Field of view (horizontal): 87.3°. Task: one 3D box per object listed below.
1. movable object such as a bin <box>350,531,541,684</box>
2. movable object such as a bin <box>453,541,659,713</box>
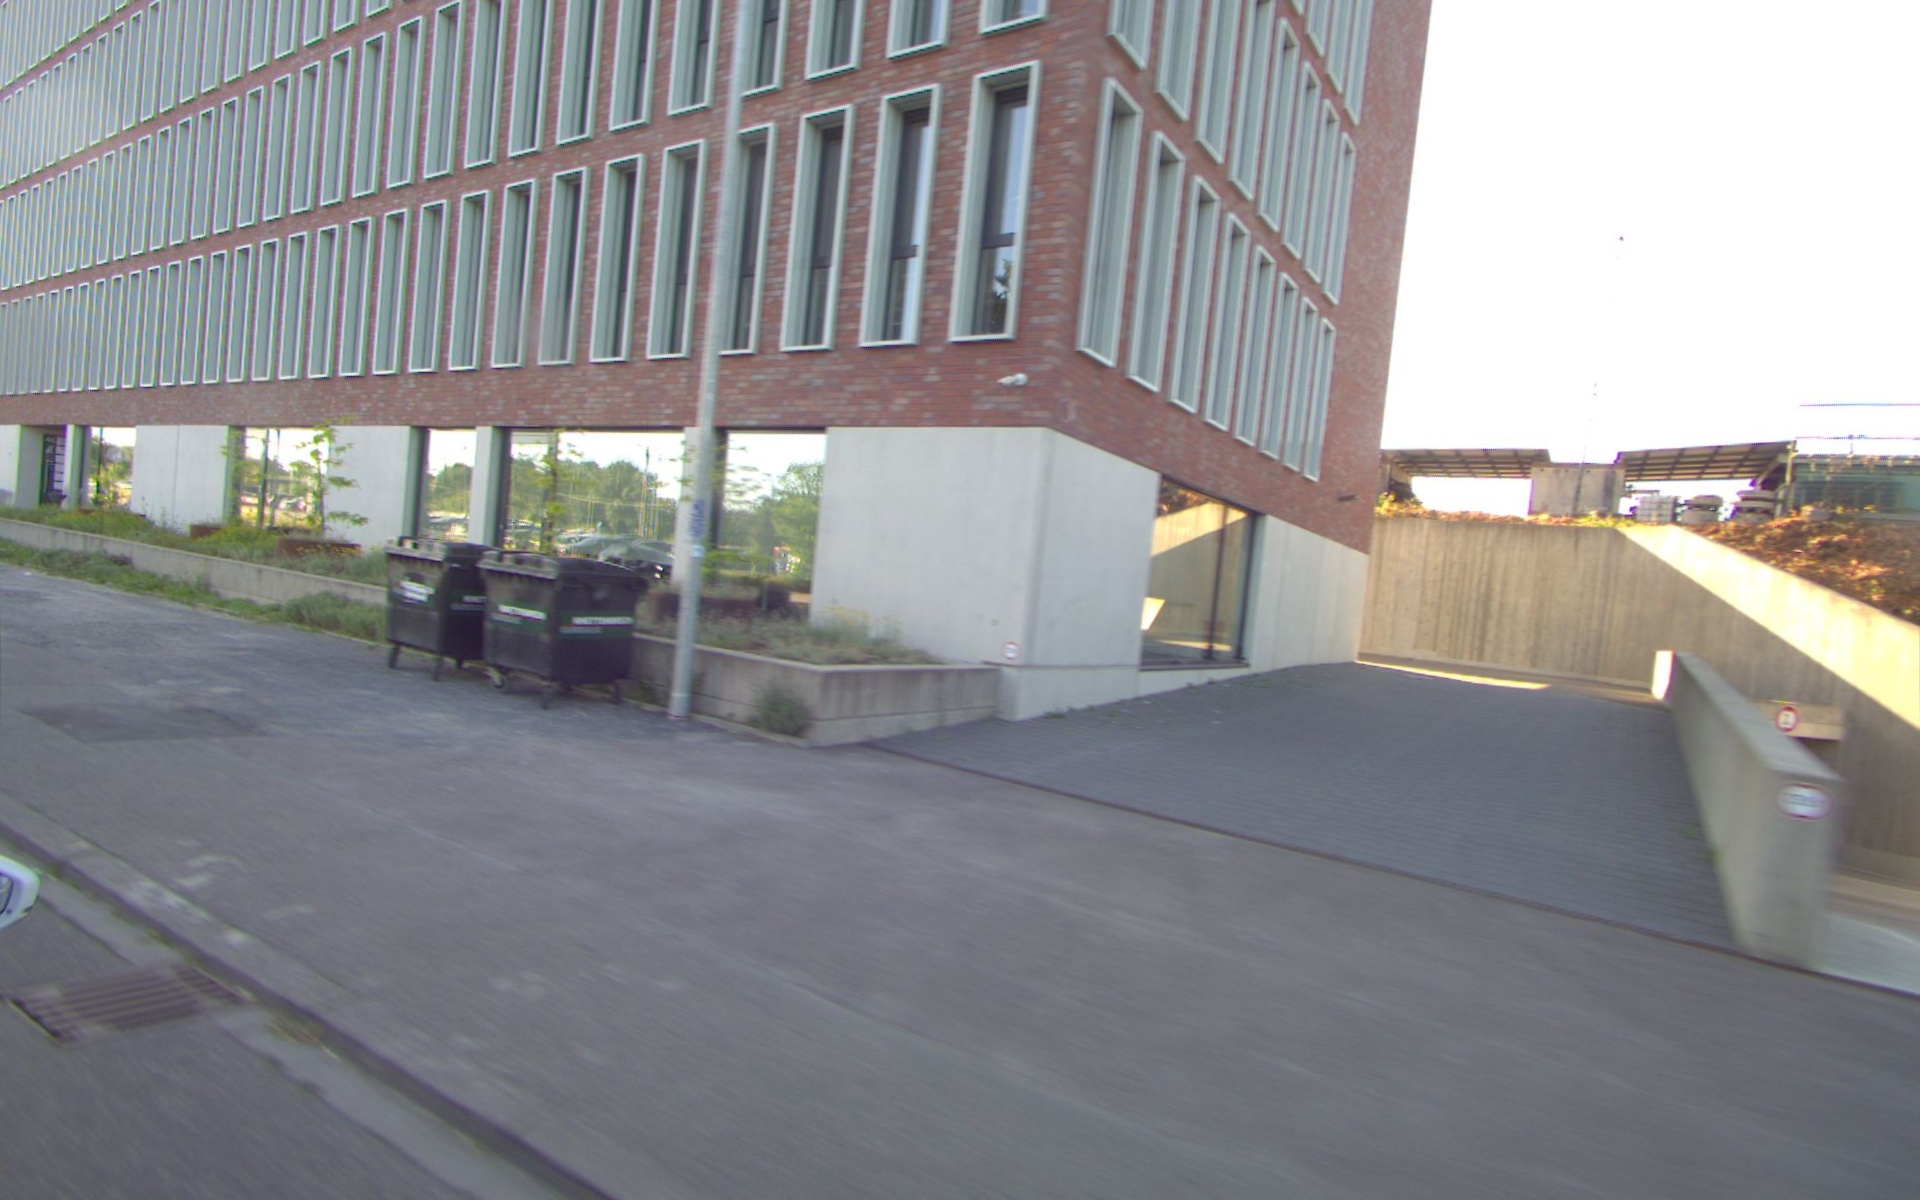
[{"bbox_3d":[-5.251,0.067,10.286,1.323,1.353,1.129,7,2,30],"label":"movable object such as a bin"},{"bbox_3d":[-3.789,0.234,9.463,1.323,1.390,1.129,7,2,30],"label":"movable object such as a bin"}]
